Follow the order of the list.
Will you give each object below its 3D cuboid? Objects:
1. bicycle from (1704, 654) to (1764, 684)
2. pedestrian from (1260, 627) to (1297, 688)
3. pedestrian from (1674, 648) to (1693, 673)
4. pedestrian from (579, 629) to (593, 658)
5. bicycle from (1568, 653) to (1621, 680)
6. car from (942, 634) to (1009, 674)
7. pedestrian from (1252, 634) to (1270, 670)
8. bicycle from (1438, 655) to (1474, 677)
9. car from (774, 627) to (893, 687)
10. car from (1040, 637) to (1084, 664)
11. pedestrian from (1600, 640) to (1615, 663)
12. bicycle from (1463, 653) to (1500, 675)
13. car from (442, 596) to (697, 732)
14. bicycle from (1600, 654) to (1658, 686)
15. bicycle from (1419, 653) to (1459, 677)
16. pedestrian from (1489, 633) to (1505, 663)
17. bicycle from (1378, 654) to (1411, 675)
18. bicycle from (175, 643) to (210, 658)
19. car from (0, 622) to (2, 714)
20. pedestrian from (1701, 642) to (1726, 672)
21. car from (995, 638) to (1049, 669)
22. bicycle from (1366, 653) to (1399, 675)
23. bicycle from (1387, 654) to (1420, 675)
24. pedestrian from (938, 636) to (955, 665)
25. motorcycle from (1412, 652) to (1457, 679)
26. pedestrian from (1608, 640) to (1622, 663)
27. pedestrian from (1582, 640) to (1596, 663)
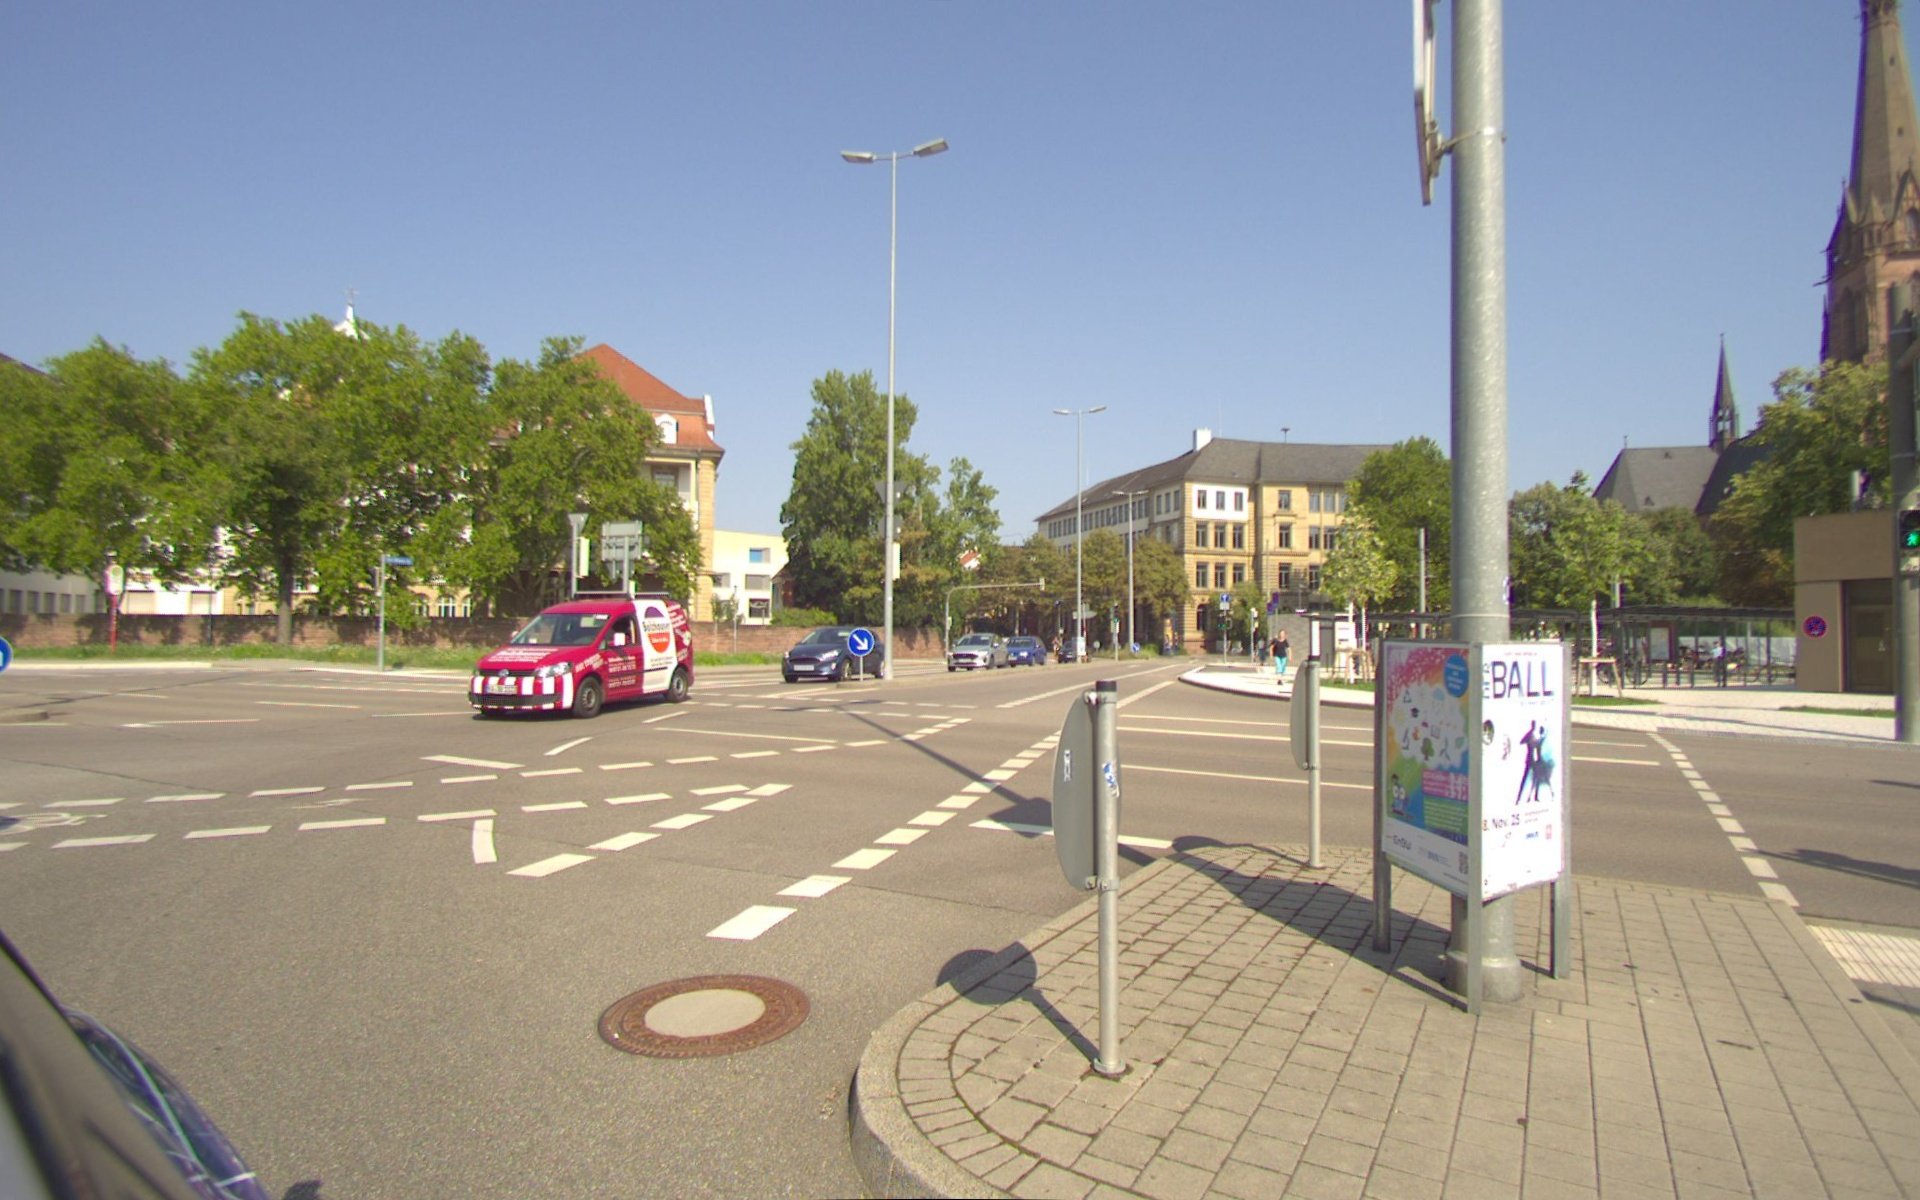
[{"bbox_3d":[27.261,2.415,35.683,0.394,1.017,1.751,1,-3,-17],"label":"bicycle"},{"bbox_3d":[8.536,1.540,27.136,0.743,1.577,0.667,2,-2,-1],"label":"pedestrian"},{"bbox_3d":[35.419,2.939,49.533,0.460,1.206,0.576,1,-3,-16],"label":"pedestrian"},{"bbox_3d":[-22.215,2.565,60.090,0.706,1.696,0.596,1,-3,-15],"label":"pedestrian"},{"bbox_3d":[24.636,2.580,39.324,0.454,1.017,1.880,1,-3,-17],"label":"bicycle"},{"bbox_3d":[0.655,2.062,39.101,1.705,1.444,3.840,0,-2,15],"label":"car"},{"bbox_3d":[16.834,2.911,56.639,0.733,2.029,0.704,-2,-4,43],"label":"pedestrian"},{"bbox_3d":[21.419,2.838,43.753,0.403,0.899,1.593,1,-3,-17],"label":"bicycle"},{"bbox_3d":[-3.242,1.484,26.757,1.626,1.438,4.299,-1,-3,15],"label":"car"},{"bbox_3d":[6.312,3.077,62.339,1.983,1.564,3.978,0,-2,17],"label":"car"},{"bbox_3d":[35.339,2.820,55.235,0.432,1.234,0.384,-1,-4,-16],"label":"pedestrian"},{"bbox_3d":[22.727,2.776,44.148,0.403,0.899,1.593,1,-3,-17],"label":"bicycle"},{"bbox_3d":[-5.924,0.917,15.993,1.720,1.833,4.261,0,-1,12],"label":"car"},{"bbox_3d":[22.478,2.346,34.044,0.394,1.017,1.751,1,-3,-17],"label":"bicycle"},{"bbox_3d":[20.501,2.761,43.350,0.524,0.994,1.718,1,-3,-17],"label":"bicycle"},{"bbox_3d":[31.694,2.842,59.715,0.710,1.762,0.387,0,-3,15],"label":"pedestrian"},{"bbox_3d":[19.402,2.894,45.214,0.394,0.899,1.593,1,-3,-17],"label":"bicycle"},{"bbox_3d":[-42.669,2.808,56.273,1.525,0.842,0.434,1,-3,-8],"label":"bicycle"},{"bbox_3d":[-6.939,0.813,4.216,1.797,1.451,4.882,0,-1,-8],"label":"car"},{"bbox_3d":[35.712,2.712,47.963,0.650,1.405,0.646,1,-3,-20],"label":"pedestrian"},{"bbox_3d":[2.903,2.433,46.582,1.593,1.339,4.310,0,-2,16],"label":"car"},{"bbox_3d":[18.772,2.839,45.003,0.414,0.975,1.593,1,-3,-17],"label":"bicycle"},{"bbox_3d":[19.861,2.902,45.385,0.403,0.899,1.593,1,-3,-17],"label":"bicycle"},{"bbox_3d":[-0.952,3.539,70.786,0.818,2.029,0.898,-4,-4,31],"label":"pedestrian"},{"bbox_3d":[18.232,2.514,38.936,0.534,1.017,1.751,1,-3,-17],"label":"motorcycle"},{"bbox_3d":[35.428,2.805,54.752,0.432,1.234,0.384,-1,-4,-16],"label":"pedestrian"},{"bbox_3d":[34.489,2.809,55.519,0.432,1.234,0.384,-1,-4,-16],"label":"pedestrian"}]
